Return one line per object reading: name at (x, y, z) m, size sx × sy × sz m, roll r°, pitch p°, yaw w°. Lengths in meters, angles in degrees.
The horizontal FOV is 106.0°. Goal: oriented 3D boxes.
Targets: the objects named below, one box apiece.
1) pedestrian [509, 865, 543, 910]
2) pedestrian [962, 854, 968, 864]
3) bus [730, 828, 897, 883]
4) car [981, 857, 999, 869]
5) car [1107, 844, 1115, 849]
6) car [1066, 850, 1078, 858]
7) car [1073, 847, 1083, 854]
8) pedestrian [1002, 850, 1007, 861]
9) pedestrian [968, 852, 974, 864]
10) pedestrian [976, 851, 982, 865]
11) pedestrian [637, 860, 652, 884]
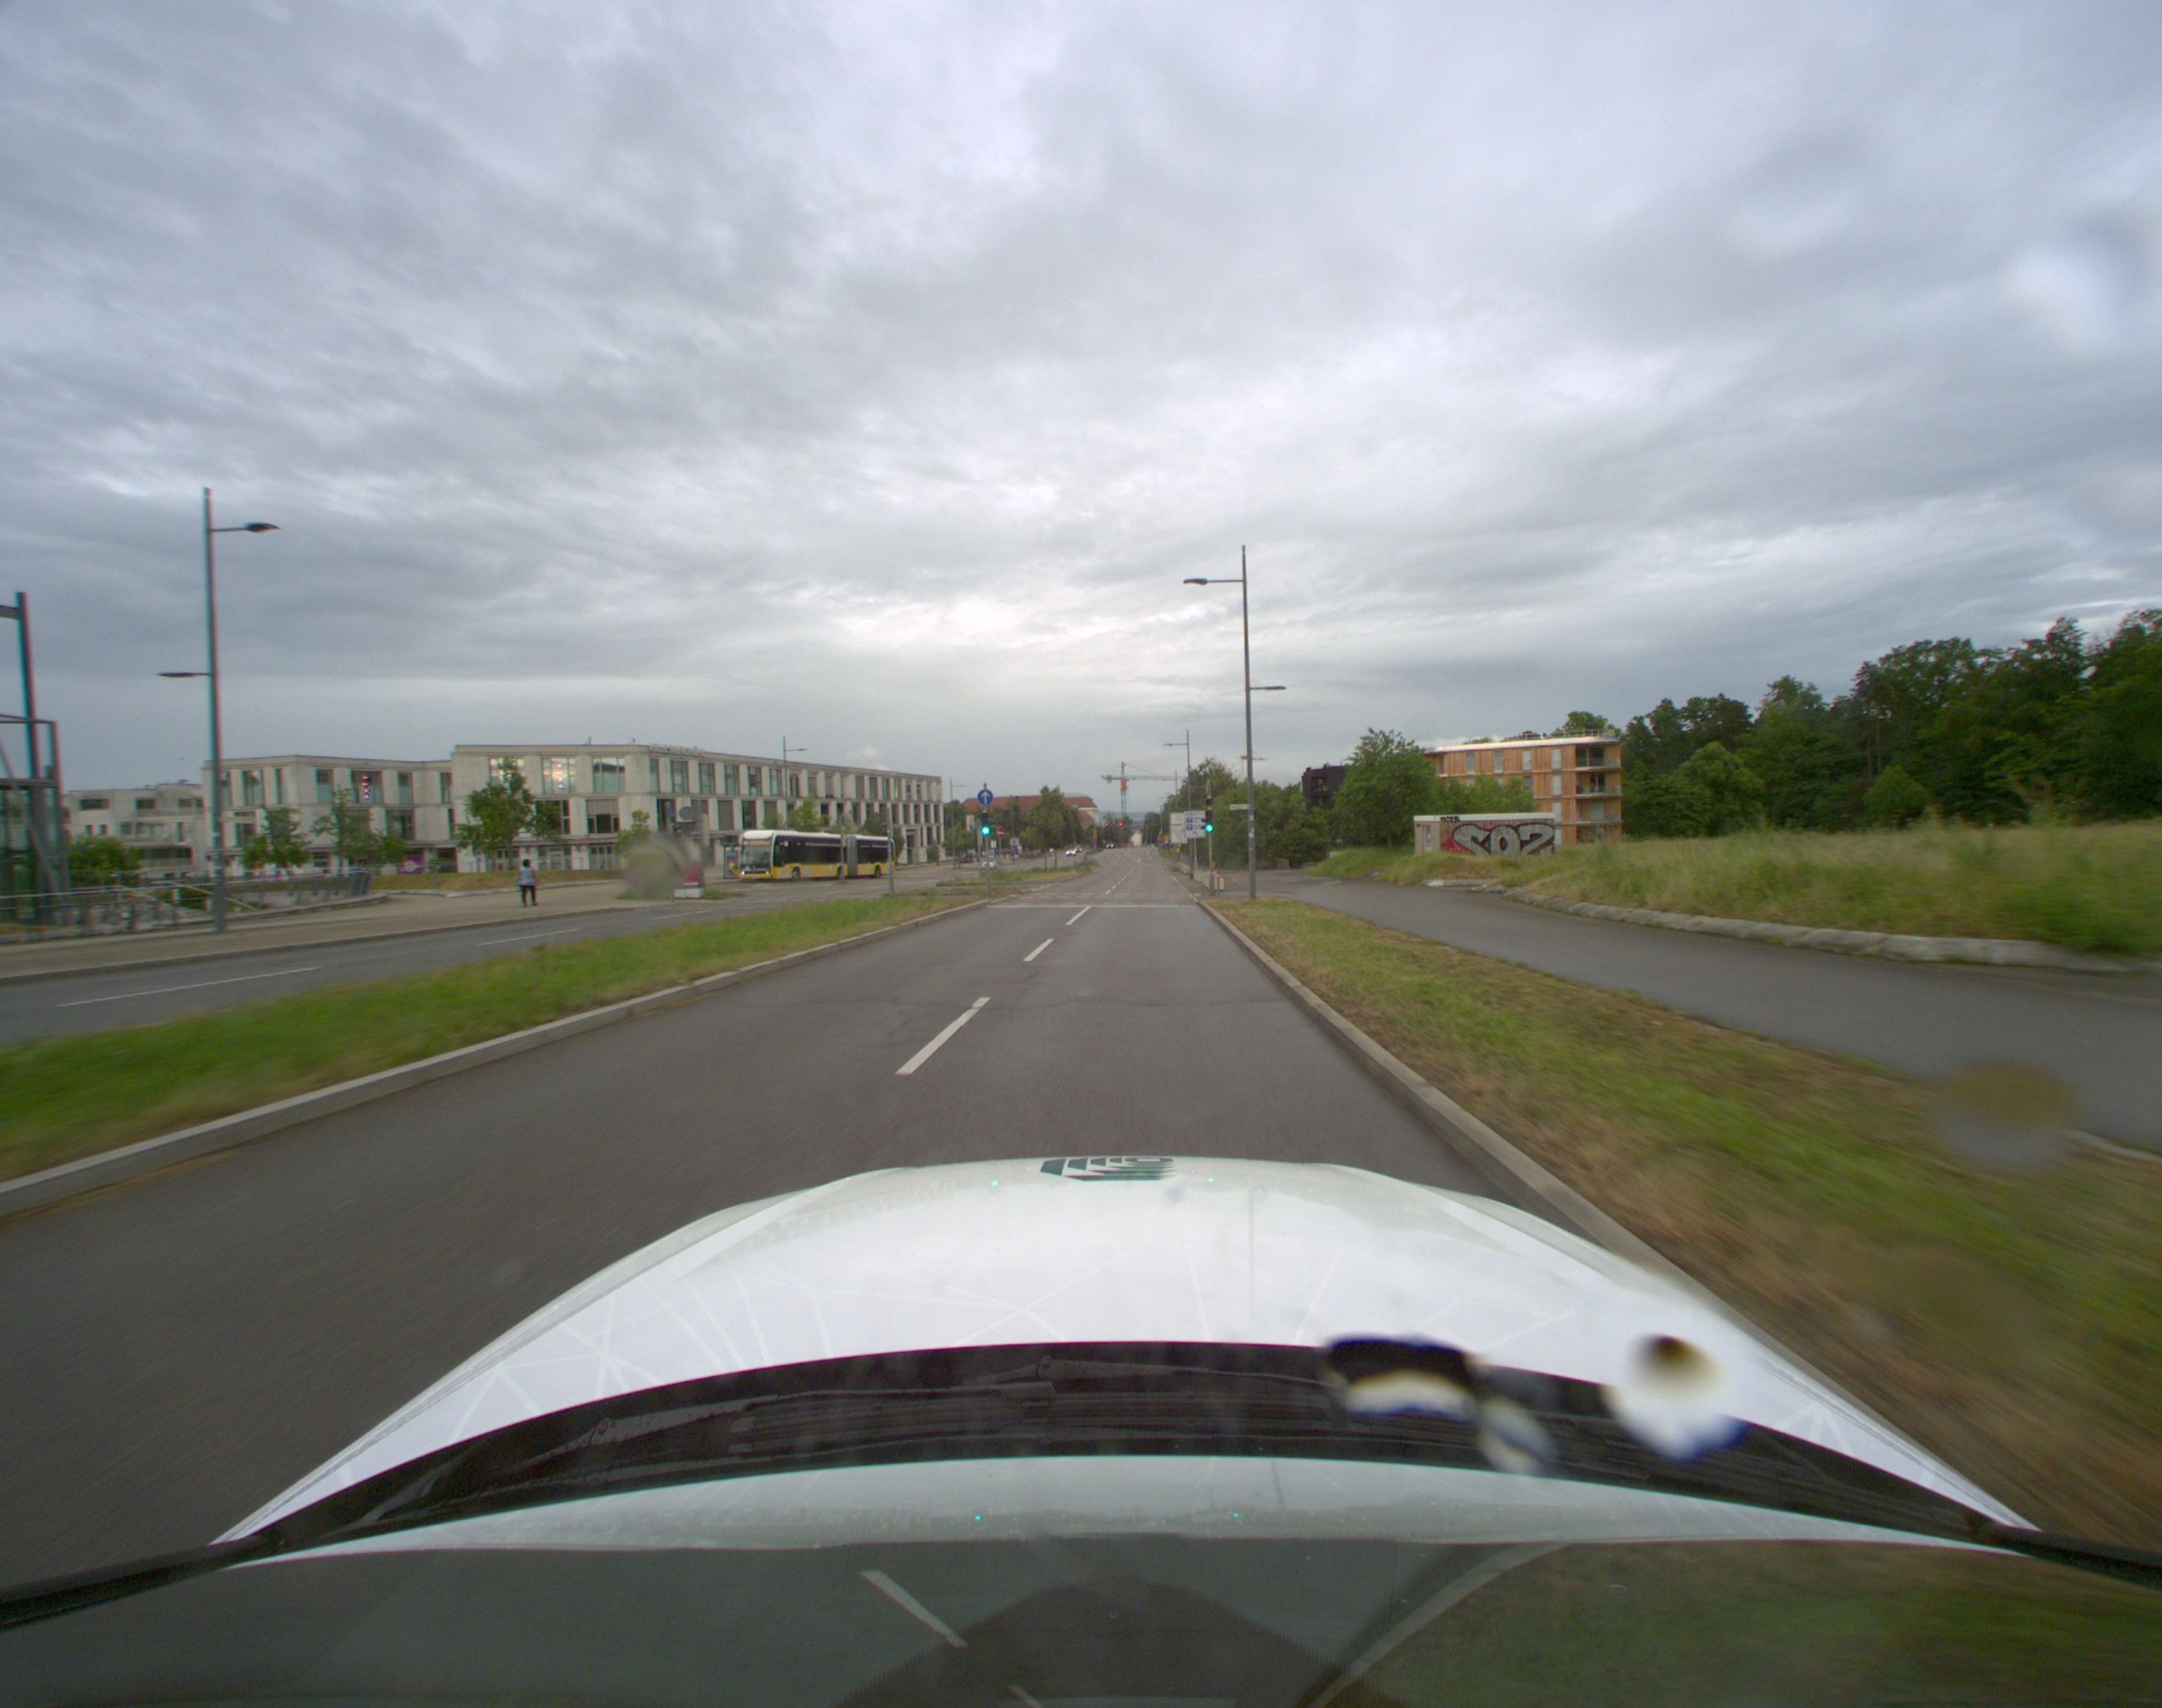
pedestrian at (-19.891, 1.209, 29.211) m, size 0.837 × 1.574 × 0.714 m, roll -1°, pitch -2°, yaw -20°
pedestrian at (-18.221, 0.731, 128.056) m, size 0.835 × 1.532 × 0.748 m, roll -1°, pitch -2°, yaw -9°
bus at (-18.843, 0.247, 59.961) m, size 2.766 × 3.357 × 18.285 m, roll -2°, pitch -1°, yaw 12°
car at (-11.384, 1.157, 102.114) m, size 1.469 × 1.494 × 2.537 m, roll -2°, pitch -1°, yaw 10°
car at (8.662, -2.152, 238.230) m, size 1.758 × 1.494 × 4.078 m, roll -2°, pitch -1°, yaw 10°
car at (-1.806, 0.057, 162.610) m, size 1.759 × 1.494 × 4.077 m, roll -2°, pitch -1°, yaw 9°
car at (-0.712, -0.879, 189.332) m, size 1.767 × 1.494 × 4.058 m, roll -2°, pitch -1°, yaw -6°
pedestrian at (-13.685, 0.260, 145.926) m, size 0.749 × 2.014 × 0.834 m, roll -1°, pitch -2°, yaw -13°
pedestrian at (-17.309, 0.578, 127.820) m, size 0.749 × 1.853 × 0.834 m, roll -1°, pitch -2°, yaw -13°
pedestrian at (-14.981, 0.565, 119.716) m, size 0.749 × 1.947 × 0.834 m, roll -1°, pitch -2°, yaw -13°
pedestrian at (-28.036, 1.167, 52.354) m, size 0.683 × 1.524 × 0.716 m, roll -1°, pitch -2°, yaw -14°
